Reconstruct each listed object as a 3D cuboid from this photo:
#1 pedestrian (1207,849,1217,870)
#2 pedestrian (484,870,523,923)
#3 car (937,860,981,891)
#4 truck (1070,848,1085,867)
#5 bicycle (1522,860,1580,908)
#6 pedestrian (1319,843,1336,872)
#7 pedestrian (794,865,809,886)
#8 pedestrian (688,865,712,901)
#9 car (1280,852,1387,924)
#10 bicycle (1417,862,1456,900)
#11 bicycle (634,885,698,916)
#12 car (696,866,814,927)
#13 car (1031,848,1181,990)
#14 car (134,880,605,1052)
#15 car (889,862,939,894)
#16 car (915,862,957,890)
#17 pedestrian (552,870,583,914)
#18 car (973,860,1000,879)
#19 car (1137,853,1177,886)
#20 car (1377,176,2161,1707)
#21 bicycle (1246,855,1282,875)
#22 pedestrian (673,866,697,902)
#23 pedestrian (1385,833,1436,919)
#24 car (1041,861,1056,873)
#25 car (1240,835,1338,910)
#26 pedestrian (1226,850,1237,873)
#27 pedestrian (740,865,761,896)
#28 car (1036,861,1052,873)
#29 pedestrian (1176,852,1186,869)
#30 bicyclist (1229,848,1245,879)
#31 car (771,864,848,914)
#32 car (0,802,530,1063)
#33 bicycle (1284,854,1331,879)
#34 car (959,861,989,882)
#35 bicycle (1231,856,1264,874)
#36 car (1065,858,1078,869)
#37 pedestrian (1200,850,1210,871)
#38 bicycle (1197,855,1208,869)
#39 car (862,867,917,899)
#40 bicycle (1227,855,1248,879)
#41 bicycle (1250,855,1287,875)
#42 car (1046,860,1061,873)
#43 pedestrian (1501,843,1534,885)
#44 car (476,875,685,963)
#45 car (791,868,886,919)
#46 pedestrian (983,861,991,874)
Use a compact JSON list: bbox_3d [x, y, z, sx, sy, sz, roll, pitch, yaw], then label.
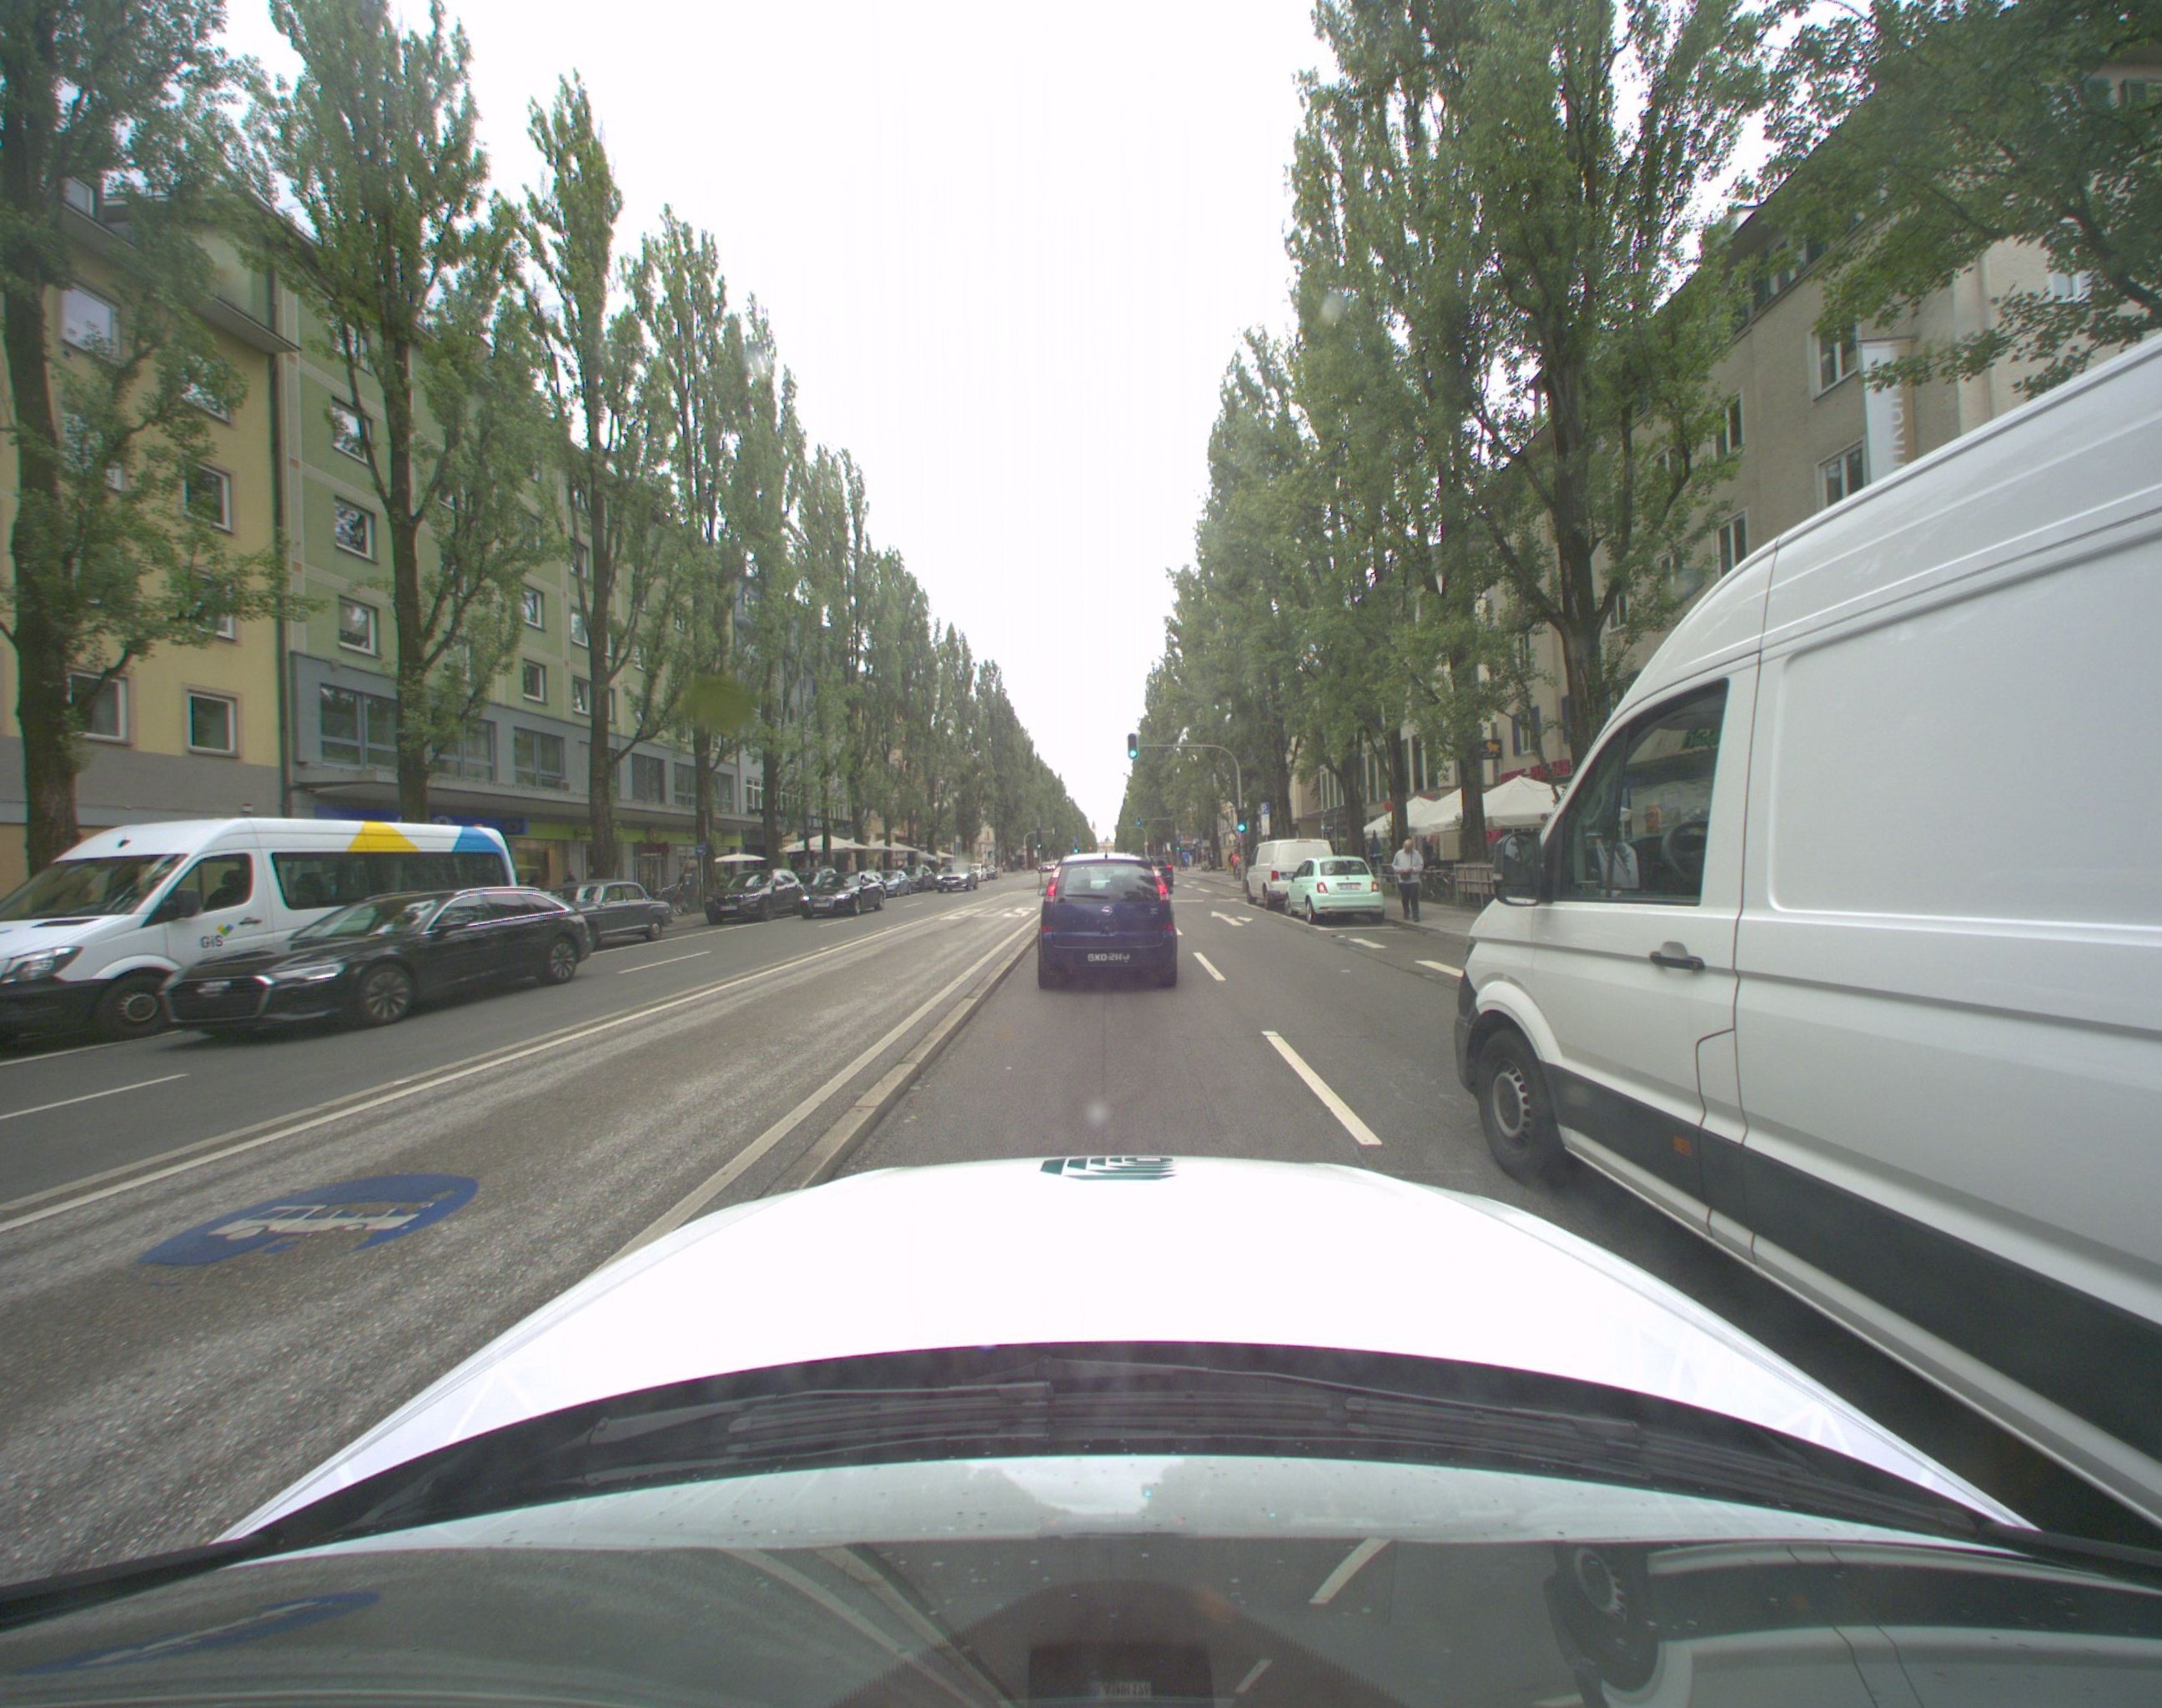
[{"bbox_3d":[11.651,0.503,72.331,0.636,1.827,0.885,0,-1,-8],"label":"pedestrian"},{"bbox_3d":[-18.988,1.400,26.778,0.753,1.686,0.675,-3,-1,3],"label":"pedestrian"},{"bbox_3d":[-7.064,1.231,47.693,1.764,1.635,4.456,-3,0,1],"label":"car"},{"bbox_3d":[-0.633,0.648,154.184,2.374,3.347,7.113,-2,0,2],"label":"truck"},{"bbox_3d":[10.485,0.653,18.203,0.348,0.996,1.453,-4,-1,-2],"label":"bicycle"},{"bbox_3d":[14.672,0.211,48.400,0.671,1.686,0.758,-3,-1,-3],"label":"pedestrian"},{"bbox_3d":[-18.651,1.440,54.364,0.763,1.410,0.799,0,-1,-3],"label":"pedestrian"},{"bbox_3d":[-18.617,1.422,39.783,0.753,1.686,0.675,-3,-1,3],"label":"pedestrian"},{"bbox_3d":[5.800,0.733,19.115,1.535,1.492,3.525,-1,-1,2],"label":"car"},{"bbox_3d":[9.842,0.747,22.569,0.348,0.996,1.453,-4,-1,-2],"label":"bicycle"},{"bbox_3d":[-15.213,1.702,29.881,1.943,1.095,0.718,0,0,-5],"label":"bicycle"},{"bbox_3d":[-10.670,1.329,27.056,1.859,1.664,4.613,-4,0,2],"label":"car"},{"bbox_3d":[0.353,0.738,11.182,1.665,1.568,4.002,-1,0,2],"label":"car"},{"bbox_3d":[-8.435,1.186,10.426,1.691,1.462,4.714,-4,0,2],"label":"car"},{"bbox_3d":[-9.923,1.416,48.663,1.859,1.665,4.402,-4,0,2],"label":"car"},{"bbox_3d":[-9.749,1.450,55.126,1.859,1.665,4.122,-4,0,2],"label":"car"},{"bbox_3d":[-20.224,1.479,32.061,0.670,1.686,0.759,-3,-1,3],"label":"pedestrian"},{"bbox_3d":[-9.024,1.473,78.184,1.859,1.665,4.122,-4,0,2],"label":"car"},{"bbox_3d":[4.014,0.800,43.622,1.889,1.622,4.002,-1,0,2],"label":"car"},{"bbox_3d":[2.688,0.205,1.461,2.055,2.492,6.733,-1,0,2],"label":"car"},{"bbox_3d":[12.135,0.720,54.019,2.220,1.204,0.626,-3,-1,-1],"label":"bicycle"},{"bbox_3d":[-19.391,1.469,39.863,0.753,1.686,0.675,-3,-1,3],"label":"pedestrian"},{"bbox_3d":[7.046,0.455,17.400,0.819,1.773,0.876,-2,-1,32],"label":"pedestrian"},{"bbox_3d":[-4.893,1.954,122.584,1.859,1.665,4.122,-2,0,2],"label":"car"},{"bbox_3d":[6.024,0.504,24.138,1.781,1.946,4.732,-2,0,2],"label":"car"},{"bbox_3d":[12.455,0.624,67.313,0.636,1.827,0.885,0,-1,-8],"label":"pedestrian"},{"bbox_3d":[-18.395,1.458,45.331,0.753,1.686,0.675,-3,-1,3],"label":"pedestrian"},{"bbox_3d":[-5.178,1.816,115.169,1.859,1.665,4.122,-2,0,2],"label":"car"},{"bbox_3d":[10.604,0.658,86.370,0.880,1.766,0.769,-2,-1,-1],"label":"pedestrian"},{"bbox_3d":[9.322,0.559,48.770,0.764,1.766,0.885,-2,-1,1],"label":"bicyclist"},{"bbox_3d":[-10.657,1.329,32.278,1.704,1.721,3.920,-4,0,-1],"label":"car"},{"bbox_3d":[-11.316,0.837,11.529,1.998,2.567,6.914,-4,0,2],"label":"car"},{"bbox_3d":[11.690,0.629,42.098,2.220,1.204,0.626,-3,-1,-1],"label":"bicycle"},{"bbox_3d":[-9.260,1.481,70.909,1.859,1.665,4.122,-4,0,2],"label":"car"},{"bbox_3d":[11.919,0.763,58.318,2.220,1.204,0.626,-3,-1,-1],"label":"bicycle"},{"bbox_3d":[-1.406,1.435,121.797,1.728,1.465,3.366,-2,0,2],"label":"car"},{"bbox_3d":[10.950,0.576,71.989,0.636,1.827,0.885,0,-1,-8],"label":"pedestrian"},{"bbox_3d":[12.017,0.817,80.669,0.769,1.349,2.450,-2,0,1],"label":"bicycle"},{"bbox_3d":[-10.123,1.506,43.246,1.727,1.425,4.145,-4,0,2],"label":"car"},{"bbox_3d":[9.328,0.764,48.672,0.769,1.349,2.450,-2,0,1],"label":"bicycle"},{"bbox_3d":[12.071,0.700,52.413,2.220,1.204,0.626,-3,-1,-1],"label":"bicycle"},{"bbox_3d":[-4.404,1.989,130.838,1.986,2.013,4.001,-2,0,1],"label":"car"},{"bbox_3d":[14.349,0.320,26.783,0.636,1.324,0.800,-2,-1,1],"label":"pedestrian"},{"bbox_3d":[-11.156,1.369,18.624,1.859,1.552,4.416,-4,0,2],"label":"car"},{"bbox_3d":[-8.057,1.266,27.435,1.739,1.434,4.131,-4,0,2],"label":"car"},{"bbox_3d":[-12.915,1.805,111.734,0.770,1.766,0.878,-2,-1,-23],"label":"pedestrian"}]
